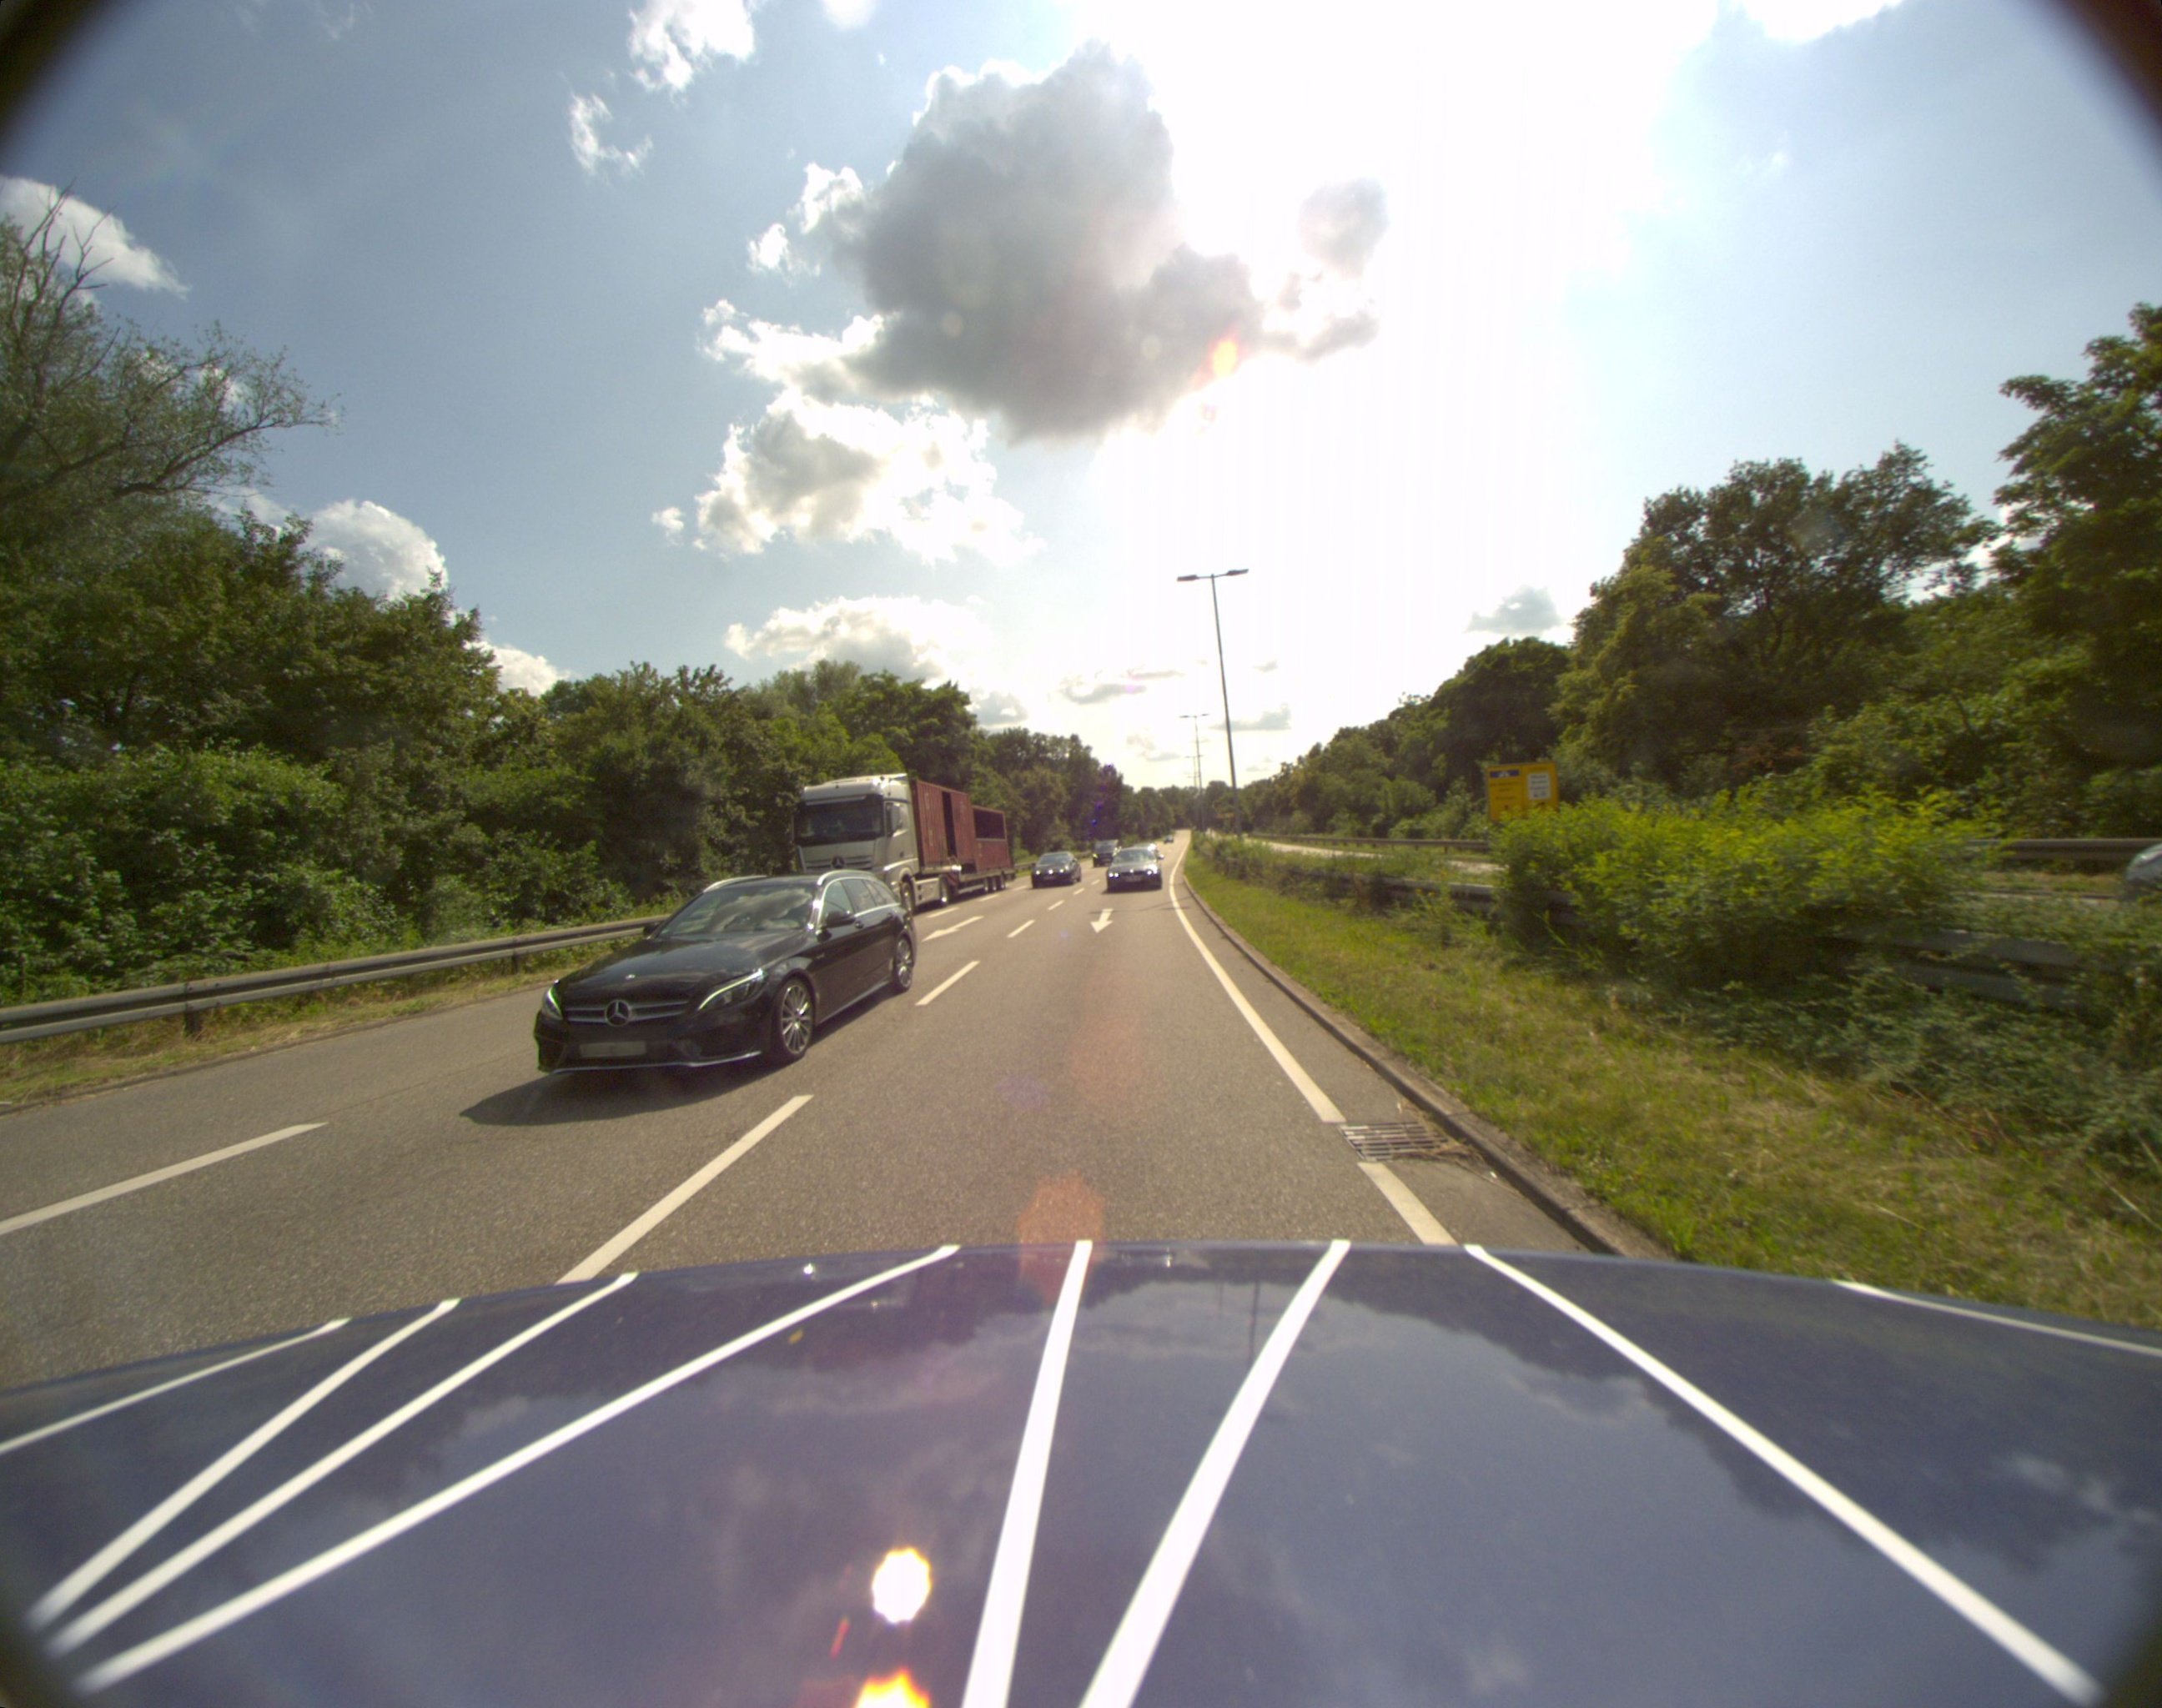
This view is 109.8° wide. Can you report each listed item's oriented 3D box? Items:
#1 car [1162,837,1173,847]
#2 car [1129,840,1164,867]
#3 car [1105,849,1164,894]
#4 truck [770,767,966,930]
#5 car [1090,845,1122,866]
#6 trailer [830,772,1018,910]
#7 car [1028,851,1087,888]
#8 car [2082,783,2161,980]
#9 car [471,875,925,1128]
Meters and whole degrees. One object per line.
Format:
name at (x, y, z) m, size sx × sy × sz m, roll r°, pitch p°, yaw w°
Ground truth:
car at (18.024, -2.551, 157.950) m, size 1.975 × 2.002 × 4.002 m, roll -3°, pitch 1°, yaw 10°
car at (4.003, -0.047, 46.111) m, size 1.857 × 1.402 × 4.002 m, roll -4°, pitch 0°, yaw 8°
car at (1.930, 0.554, 26.425) m, size 1.857 × 1.354 × 4.002 m, roll -2°, pitch 0°, yaw 6°
truck at (-5.811, -0.144, 22.213) m, size 2.775 × 3.822 × 6.823 m, roll -5°, pitch 0°, yaw 7°
car at (1.871, 0.082, 55.694) m, size 1.857 × 1.402 × 4.002 m, roll -4°, pitch 0°, yaw 8°
trailer at (-5.142, -0.438, 28.408) m, size 2.777 × 3.827 × 12.326 m, roll -4°, pitch 0°, yaw 7°
car at (-0.960, 0.642, 33.261) m, size 1.857 × 1.402 × 4.002 m, roll -4°, pitch 0°, yaw 8°
car at (9.706, 0.191, 4.488) m, size 1.716 × 1.577 × 4.278 m, roll -2°, pitch 0°, yaw -9°
car at (-3.010, 1.052, 7.243) m, size 1.795 × 1.427 × 4.370 m, roll -4°, pitch 1°, yaw 4°
